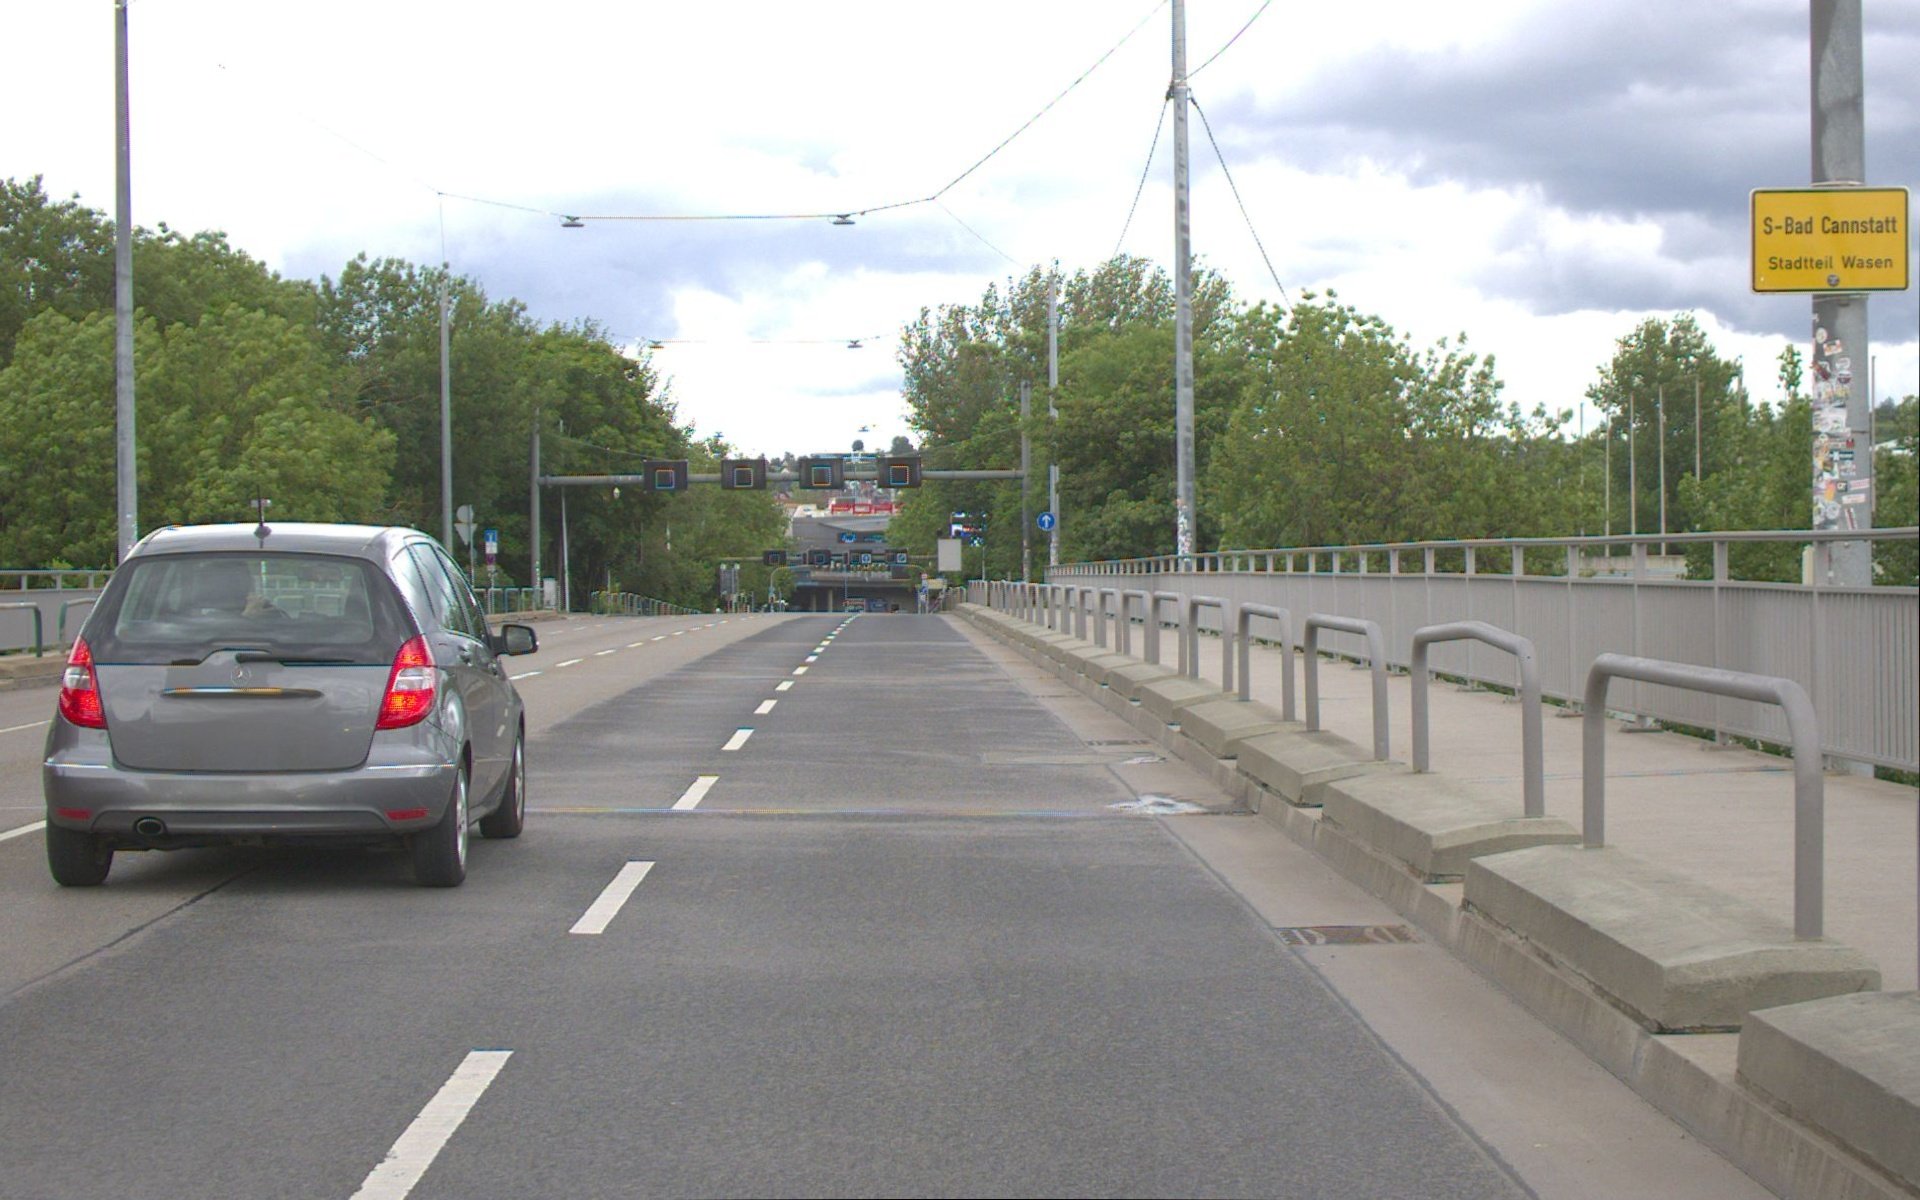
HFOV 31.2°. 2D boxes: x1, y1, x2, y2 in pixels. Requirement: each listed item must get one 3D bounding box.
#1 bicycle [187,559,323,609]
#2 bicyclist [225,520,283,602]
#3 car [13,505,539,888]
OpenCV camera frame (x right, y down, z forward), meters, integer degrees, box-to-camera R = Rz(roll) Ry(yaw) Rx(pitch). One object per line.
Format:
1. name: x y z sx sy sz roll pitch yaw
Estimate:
1. bicycle: -15.223 -0.345 74.281 2.790 1.047 0.921 0 0 -6
2. bicyclist: -15.249 -0.849 74.268 1.132 1.758 0.905 0 0 -6
3. car: -3.008 0.352 15.871 1.745 1.545 3.871 0 1 -1
